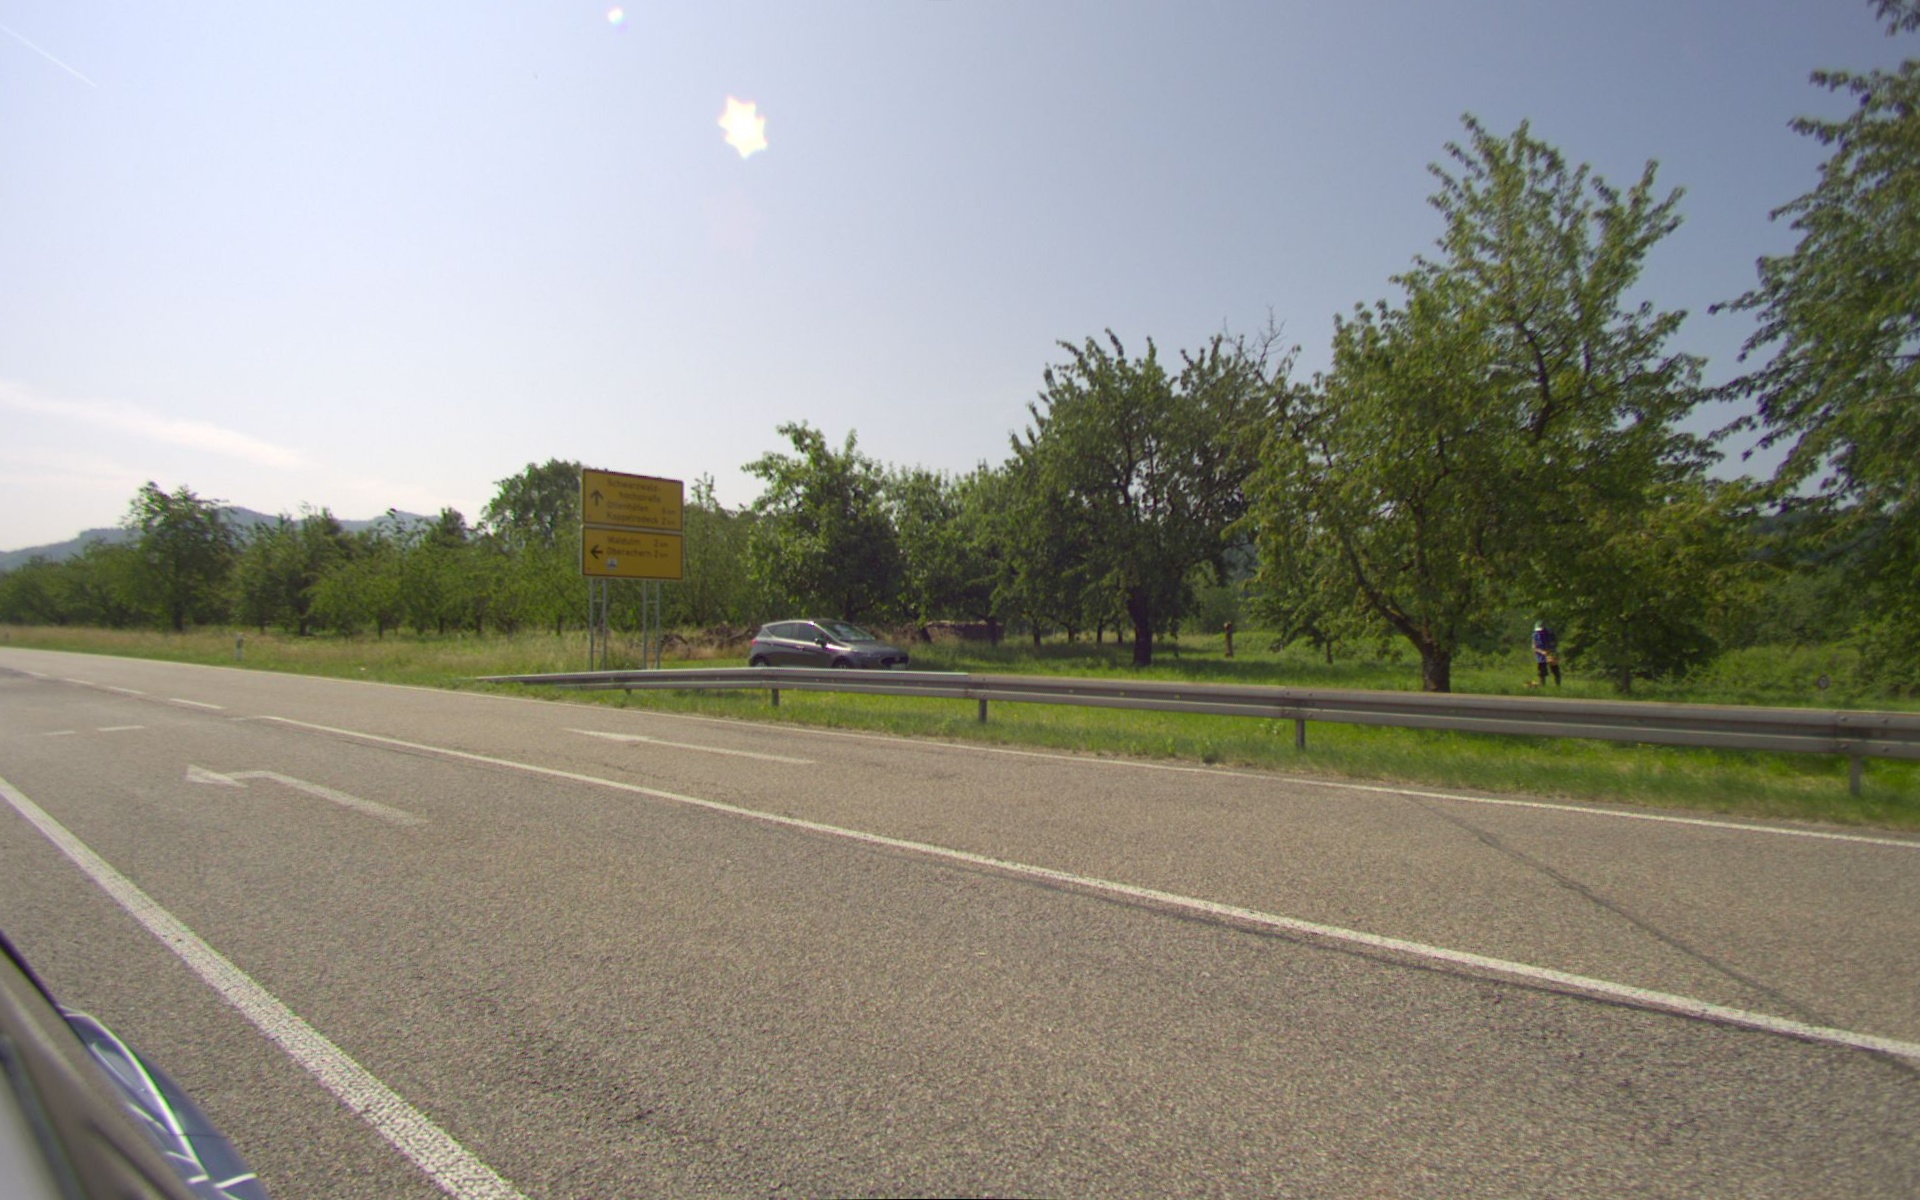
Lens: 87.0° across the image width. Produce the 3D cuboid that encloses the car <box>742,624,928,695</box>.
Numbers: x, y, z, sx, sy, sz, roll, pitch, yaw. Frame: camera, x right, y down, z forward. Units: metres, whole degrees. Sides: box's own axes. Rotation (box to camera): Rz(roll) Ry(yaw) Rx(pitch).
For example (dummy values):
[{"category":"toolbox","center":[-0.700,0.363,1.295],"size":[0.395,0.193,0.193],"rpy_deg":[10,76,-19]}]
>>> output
[{"category":"car","center":[-2.821,1.258,22.446],"size":[4.035,1.434,1.689],"rpy_deg":[-1,-2,36]}]

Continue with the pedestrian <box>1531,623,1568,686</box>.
[{"category":"pedestrian","center":[12.554,1.139,21.542],"size":[0.556,1.307,0.567],"rpy_deg":[-1,-1,42]}]
